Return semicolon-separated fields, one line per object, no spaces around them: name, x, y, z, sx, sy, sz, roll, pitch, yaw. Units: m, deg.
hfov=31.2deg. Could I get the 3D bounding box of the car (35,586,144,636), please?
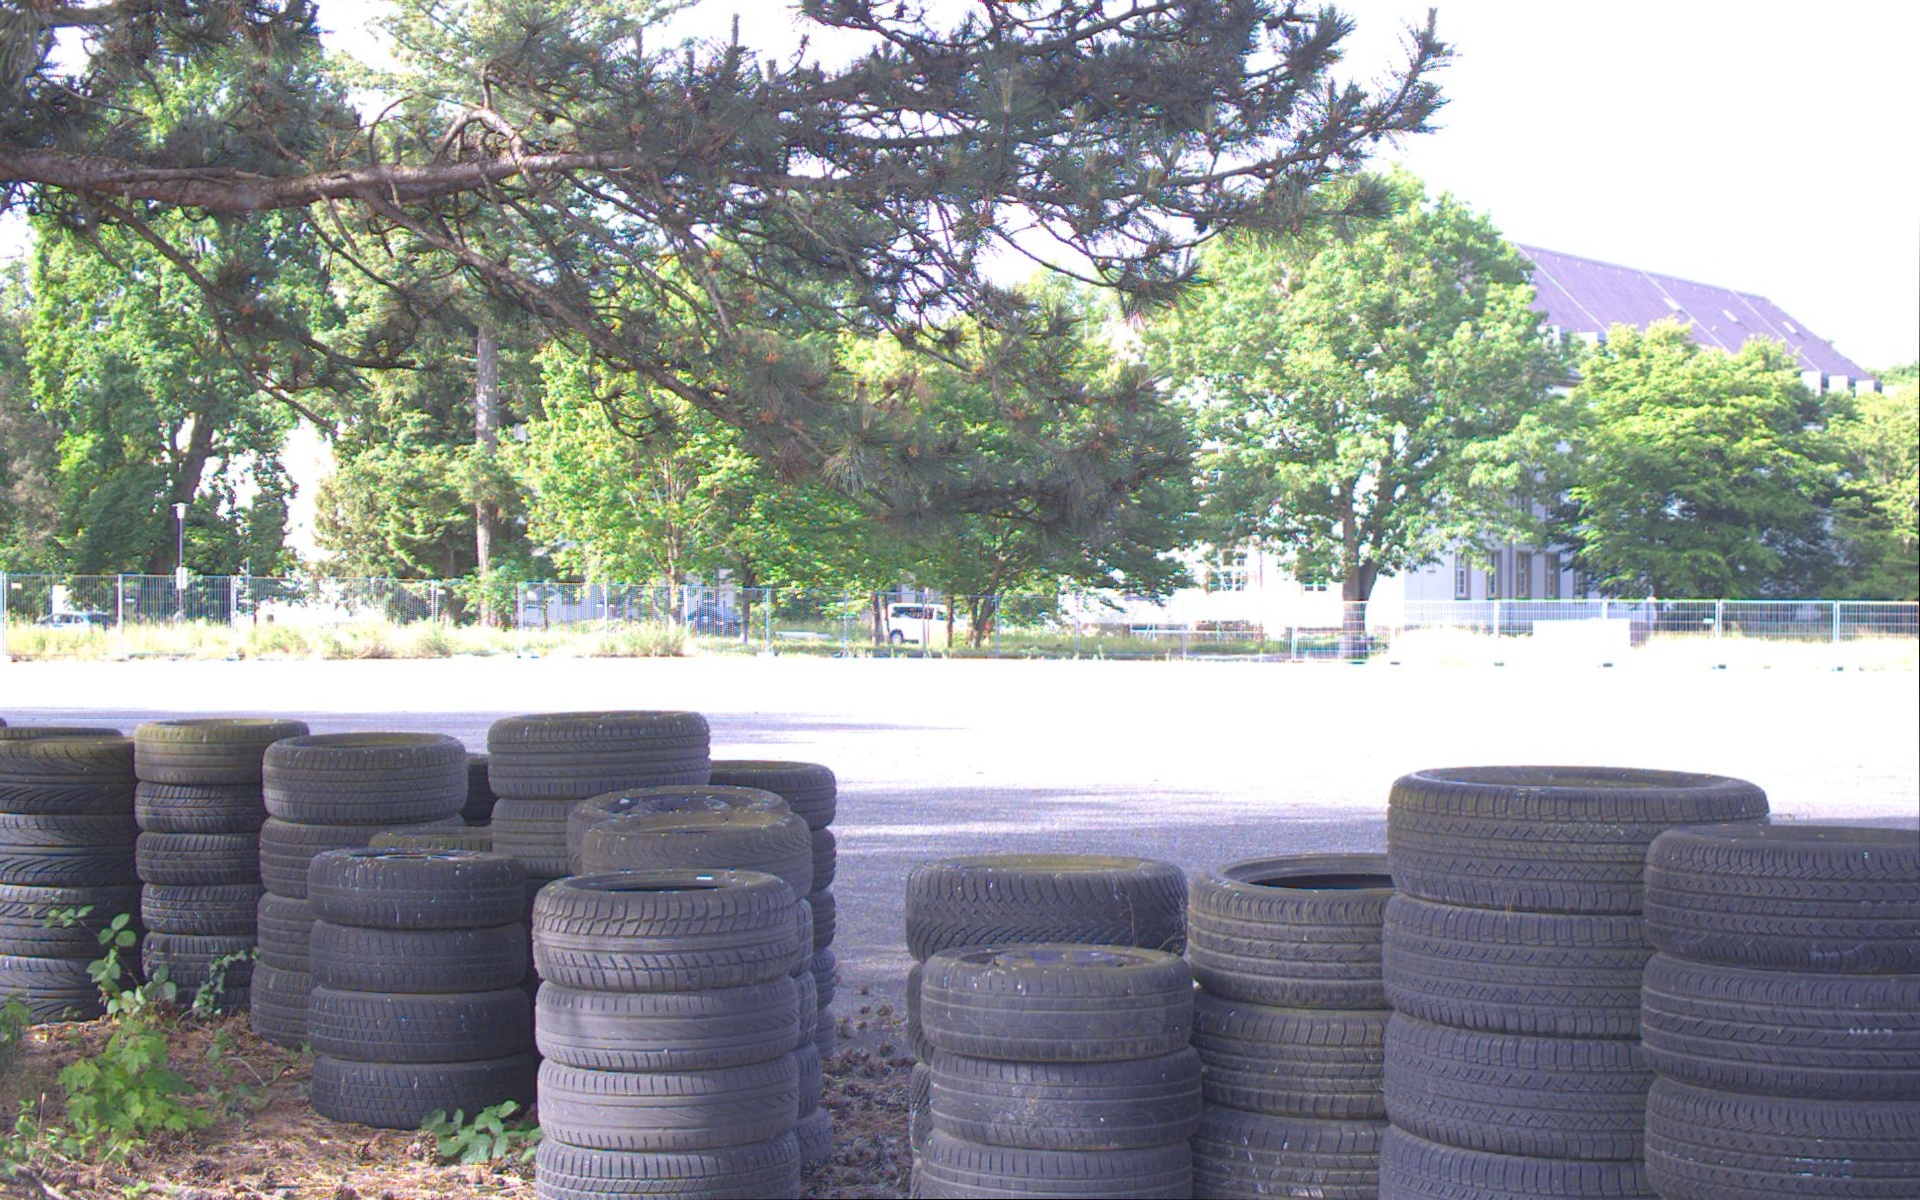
car;-31.182;0.395;123.128;3.997;1.744;1.995;0;0;45
